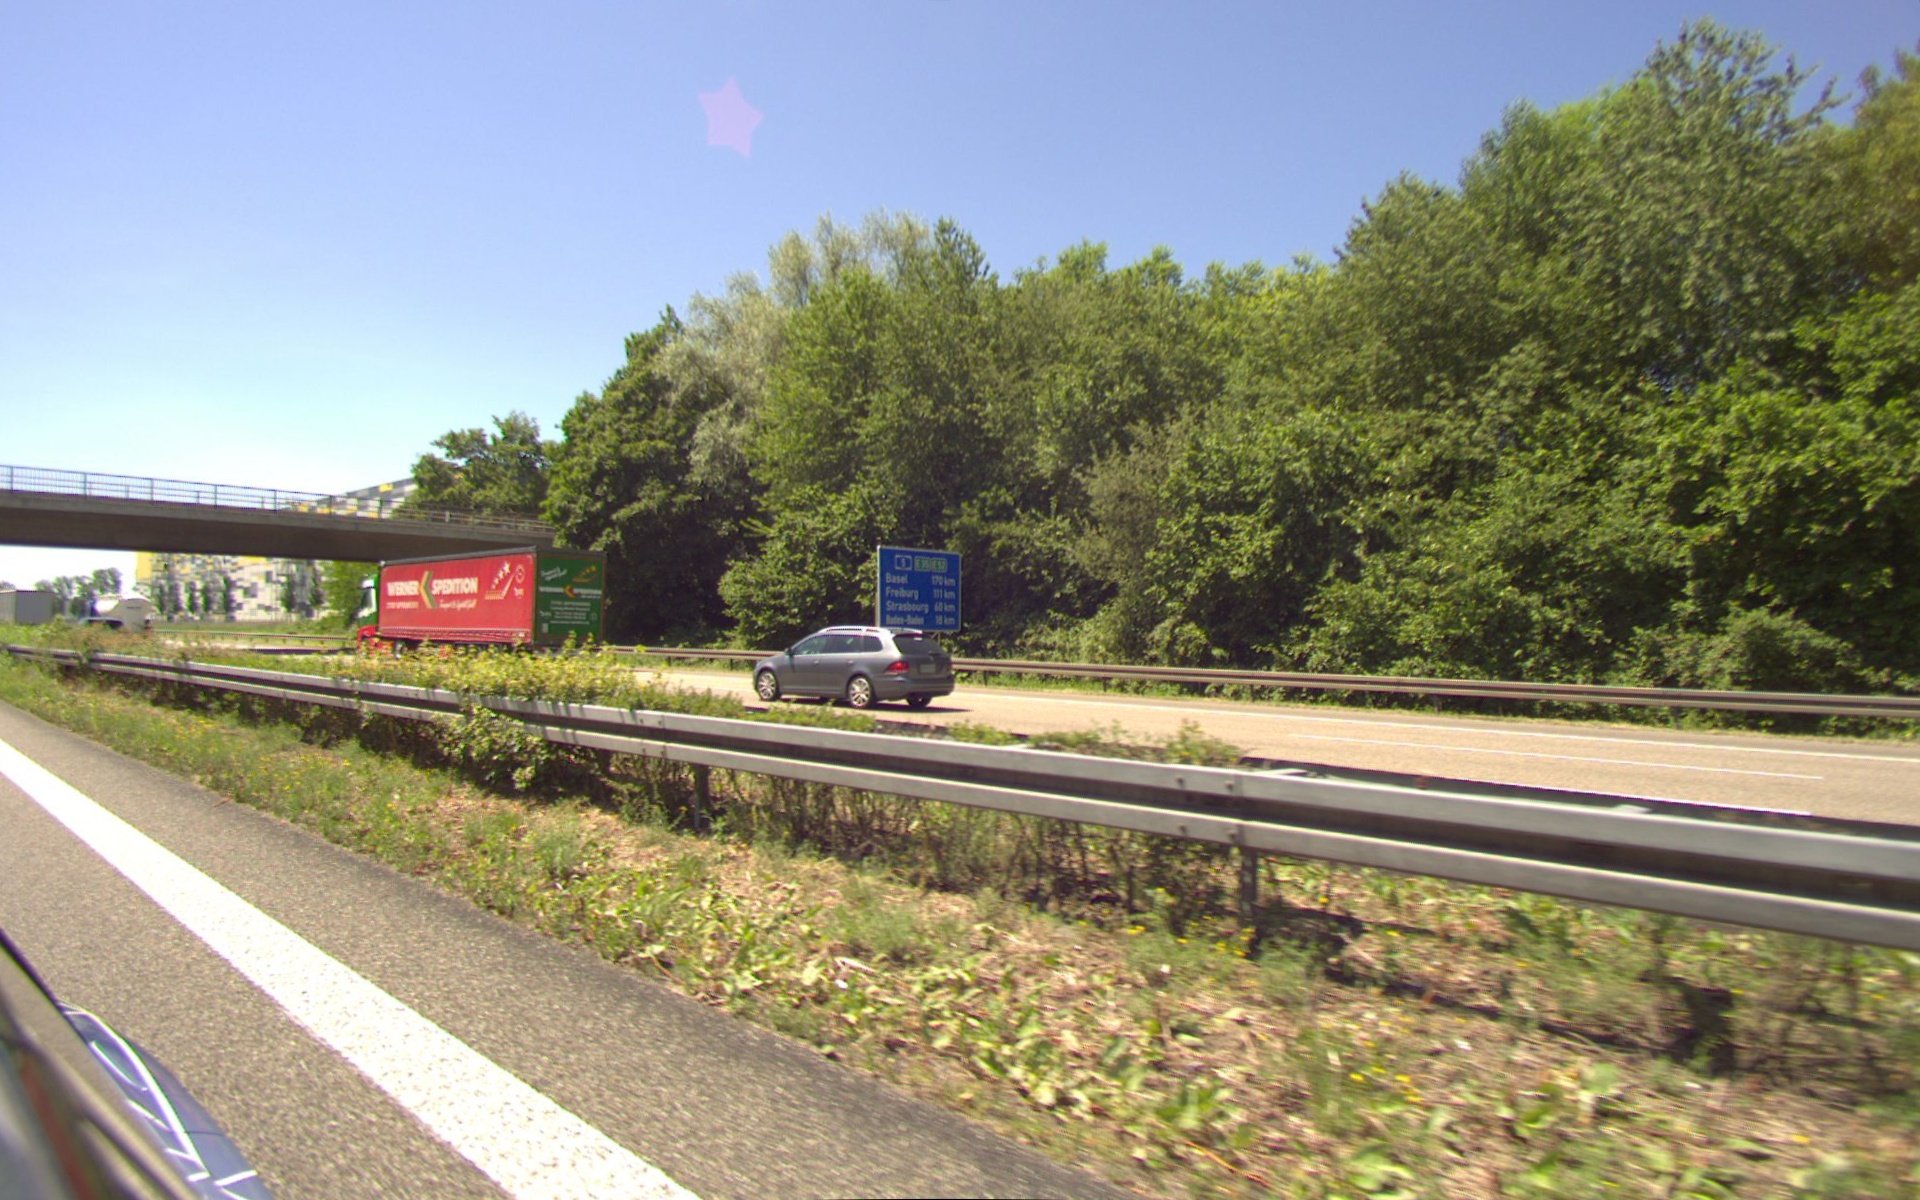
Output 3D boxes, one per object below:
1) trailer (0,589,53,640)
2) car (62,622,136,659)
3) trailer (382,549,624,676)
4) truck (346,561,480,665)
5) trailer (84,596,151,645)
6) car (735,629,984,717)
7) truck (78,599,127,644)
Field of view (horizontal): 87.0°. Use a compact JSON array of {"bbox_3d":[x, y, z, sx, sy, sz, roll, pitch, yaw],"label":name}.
[{"bbox_3d":[-85.726,1.406,92.265,13.829,4.257,2.799,-1,-3,41],"label":"trailer"},{"bbox_3d":[-37.493,1.734,44.013,4.514,1.523,1.651,-1,-2,39],"label":"car"},{"bbox_3d":[-17.469,0.507,37.920,12.734,4.090,3.184,-1,-2,41],"label":"trailer"},{"bbox_3d":[-23.248,0.595,42.937,5.615,4.090,3.184,-1,-2,41],"label":"truck"},{"bbox_3d":[-70.154,1.781,84.127,12.068,3.823,2.334,-1,-3,41],"label":"trailer"},{"bbox_3d":[-2.009,1.294,19.175,4.868,1.461,1.829,-1,-3,40],"label":"car"},{"bbox_3d":[-74.764,1.890,88.189,5.249,3.804,2.335,-1,-4,41],"label":"truck"}]
